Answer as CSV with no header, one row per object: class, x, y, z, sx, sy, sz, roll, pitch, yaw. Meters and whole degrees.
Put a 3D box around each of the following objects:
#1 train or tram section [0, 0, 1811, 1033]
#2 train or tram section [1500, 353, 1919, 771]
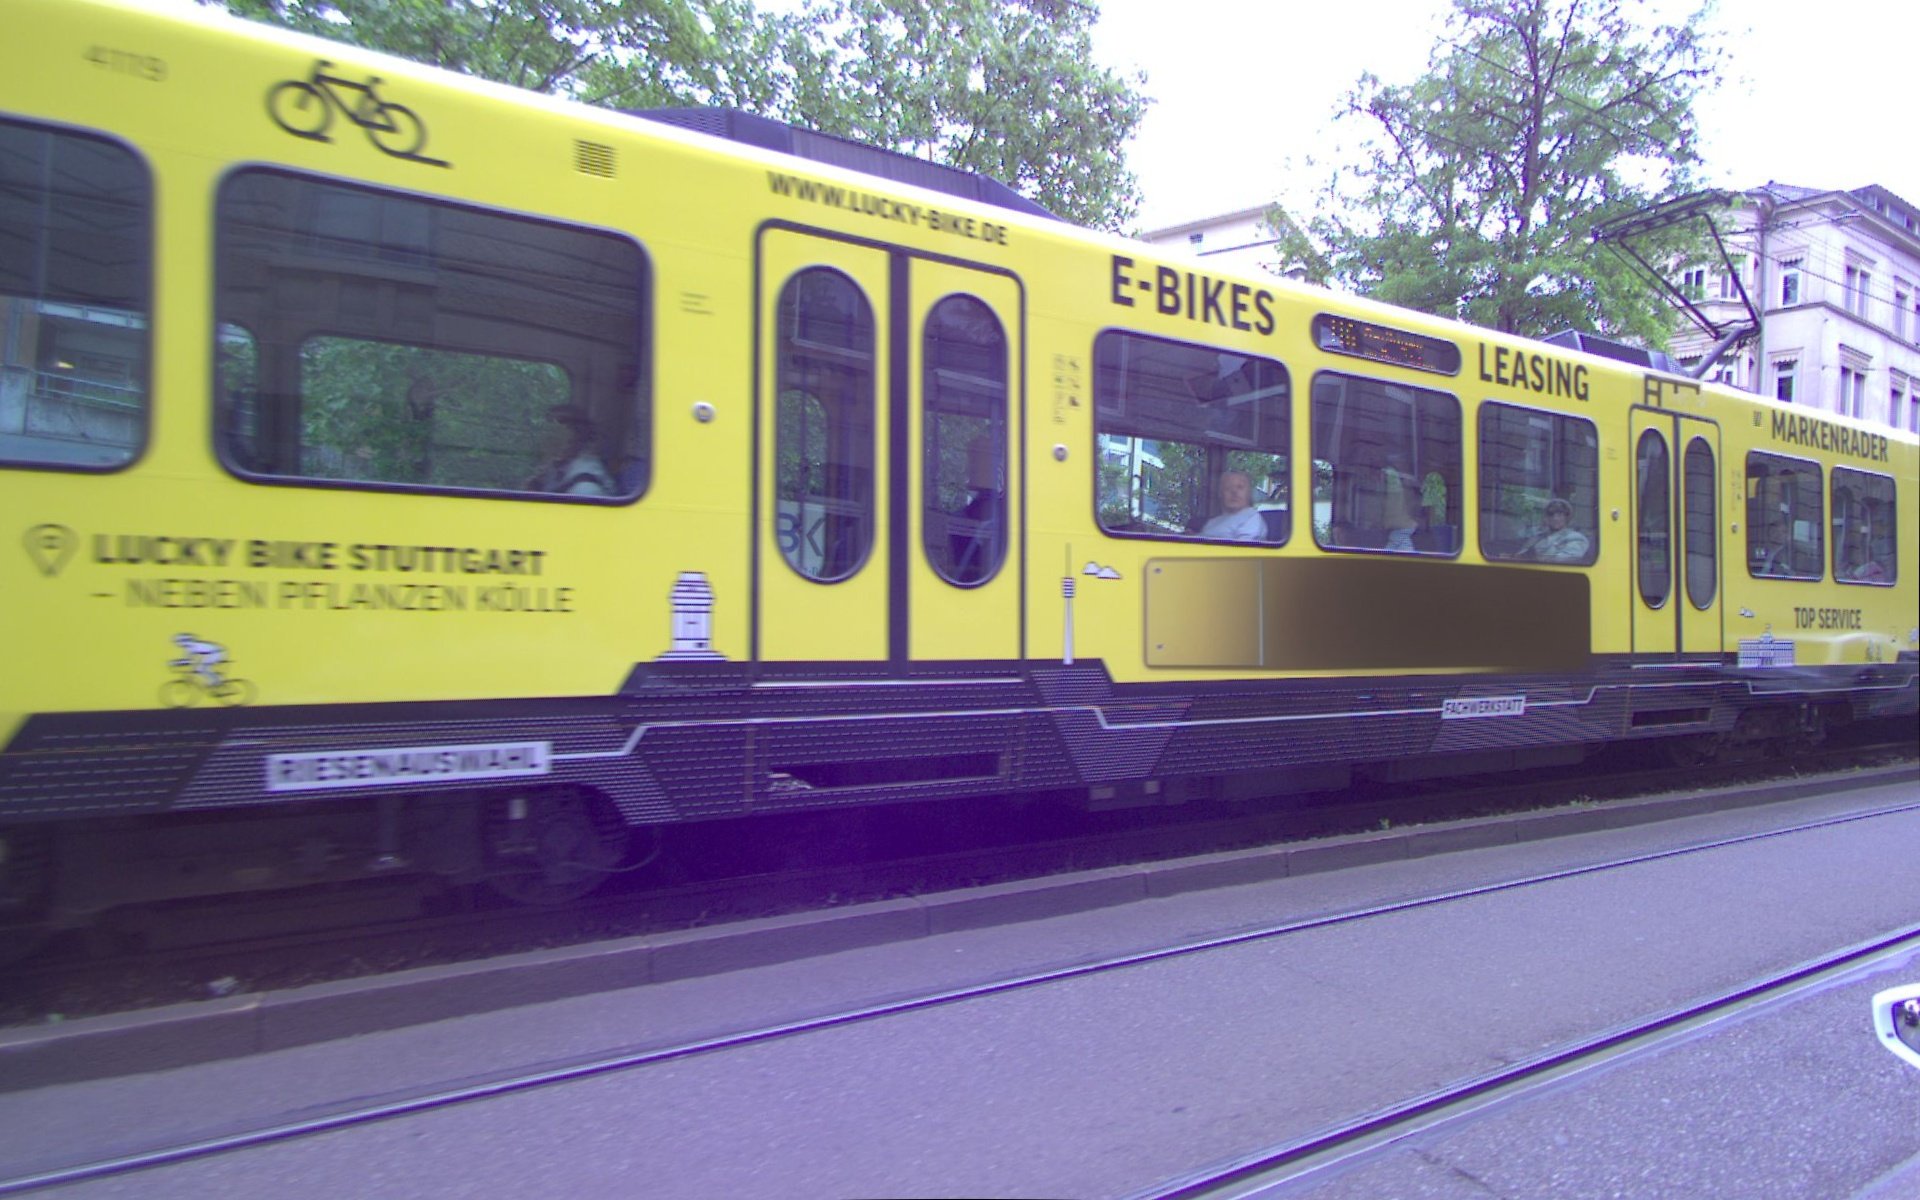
train or tram section,0.546,-0.498,6.684,14.678,3.776,2.869,1,1,-30
train or tram section,15.064,-0.190,14.848,18.473,3.776,2.863,1,1,-29
